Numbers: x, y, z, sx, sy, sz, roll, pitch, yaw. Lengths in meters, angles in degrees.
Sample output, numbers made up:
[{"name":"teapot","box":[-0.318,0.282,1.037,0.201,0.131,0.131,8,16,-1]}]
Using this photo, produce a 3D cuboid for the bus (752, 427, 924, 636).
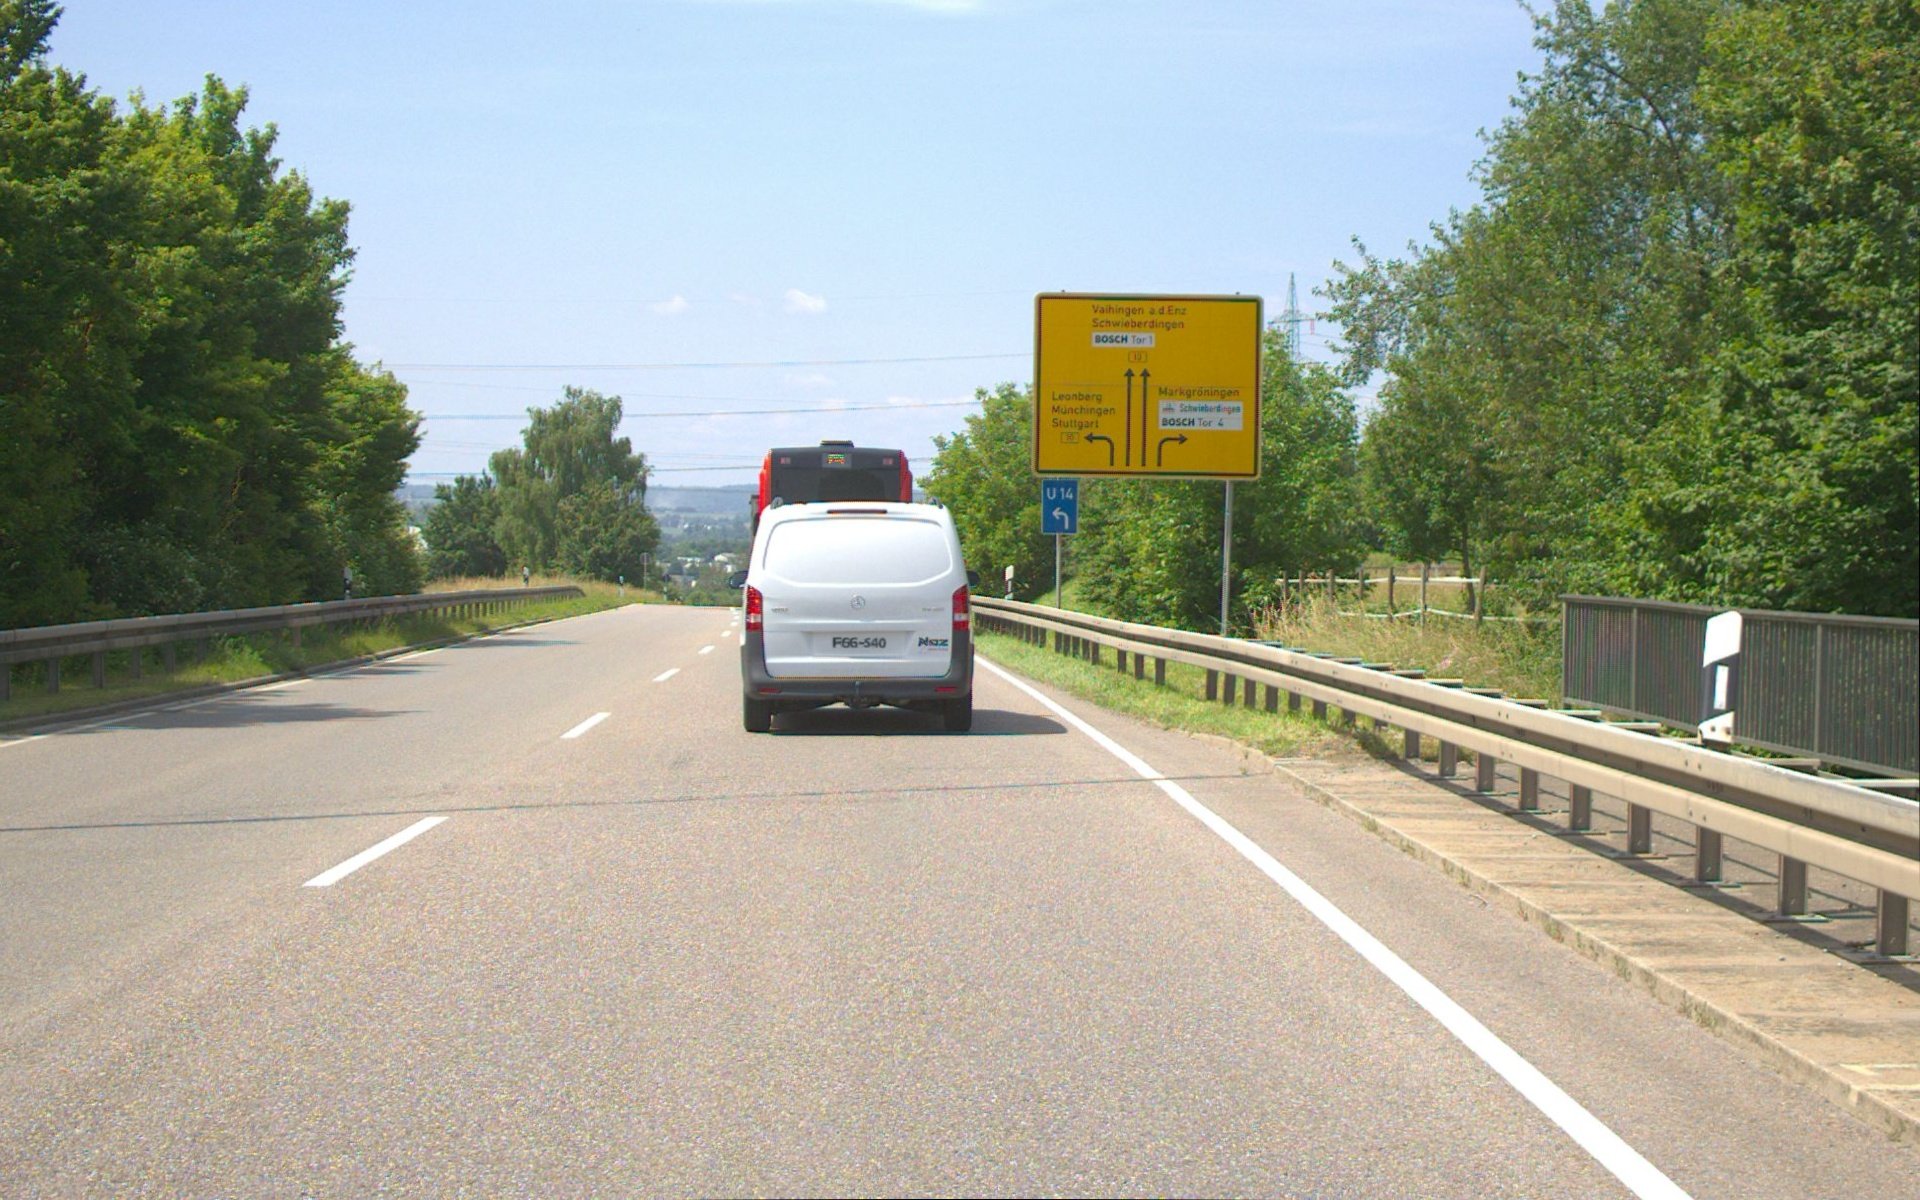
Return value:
[{"name":"bus","box":[-2.344,-1.245,61.735,2.747,3.342,13.224,0,1,-3]}]

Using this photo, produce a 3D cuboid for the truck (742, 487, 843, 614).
[{"name":"truck","box":[-6.184,-1.904,126.648,3.488,4.408,14.905,0,1,-3]}]

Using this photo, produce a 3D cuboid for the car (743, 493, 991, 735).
[{"name":"car","box":[-0.827,0.061,29.056,1.923,1.883,4.001,1,1,-3]}]
